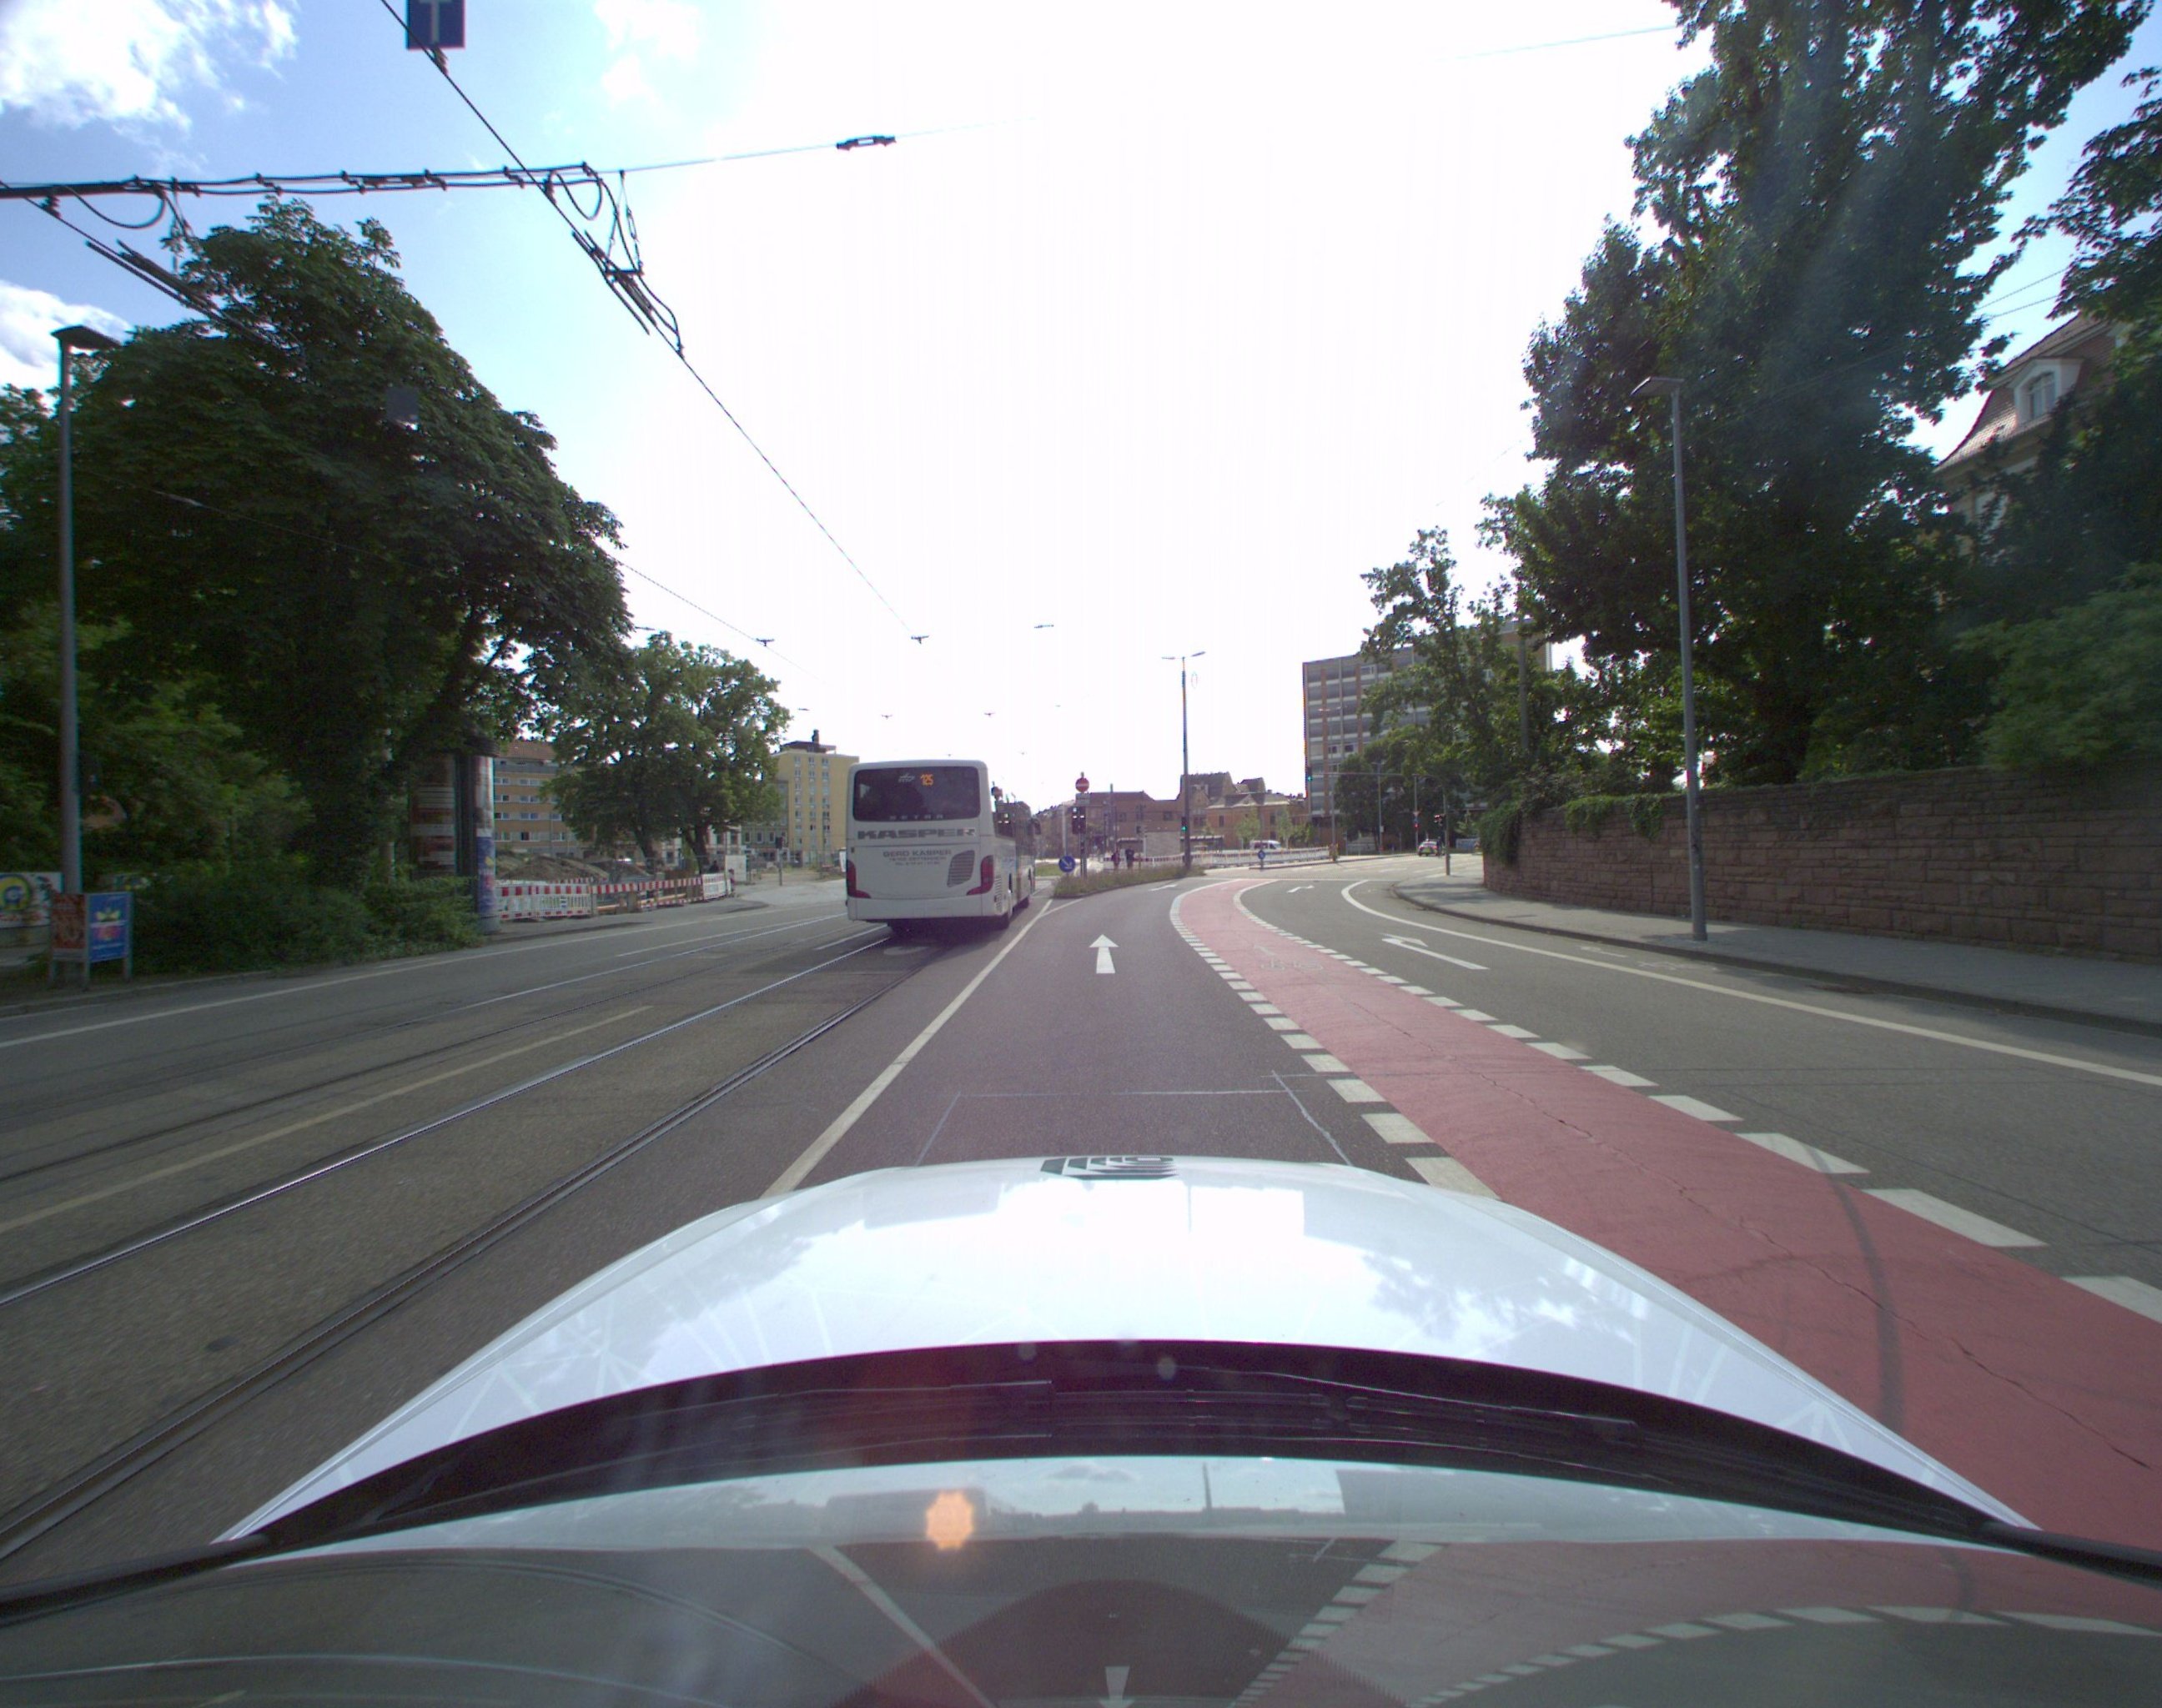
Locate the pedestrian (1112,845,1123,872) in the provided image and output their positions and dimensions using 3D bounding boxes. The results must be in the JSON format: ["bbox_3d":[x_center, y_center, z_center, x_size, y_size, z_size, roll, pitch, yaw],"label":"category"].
[{"bbox_3d":[2.362,0.279,52.906,0.404,1.736,0.625,-1,0,33],"label":"pedestrian"}]

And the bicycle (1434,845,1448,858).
[{"bbox_3d":[32.862,-0.204,74.383,0.714,1.084,2.205,-2,1,35],"label":"bicycle"}]

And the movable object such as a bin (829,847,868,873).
[{"bbox_3d":[-24.335,0.582,85.322,2.631,2.574,4.004,-1,0,3],"label":"movable object such as a bin"}]

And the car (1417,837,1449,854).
[{"bbox_3d":[35.157,-0.866,81.279,2.109,1.683,4.129,1,2,35],"label":"car"}]

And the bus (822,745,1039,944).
[{"bbox_3d":[-2.836,-0.164,19.767,2.908,3.328,12.205,0,0,0],"label":"bus"}]

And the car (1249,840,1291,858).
[{"bbox_3d":[26.213,-0.719,112.922,2.311,2.319,5.528,-1,0,-35],"label":"car"}]

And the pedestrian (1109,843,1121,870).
[{"bbox_3d":[2.182,0.182,51.906,0.610,1.706,0.621,-2,0,-8],"label":"pedestrian"}]

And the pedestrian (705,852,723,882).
[{"bbox_3d":[-20.969,0.727,46.486,0.793,1.652,0.574,-2,0,-36],"label":"pedestrian"}]

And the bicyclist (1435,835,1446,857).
[{"bbox_3d":[32.846,-0.776,74.383,0.711,1.973,0.845,-2,1,35],"label":"bicyclist"}]

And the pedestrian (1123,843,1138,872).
[{"bbox_3d":[3.244,0.250,53.382,0.793,1.884,0.610,-2,0,-16],"label":"pedestrian"}]
